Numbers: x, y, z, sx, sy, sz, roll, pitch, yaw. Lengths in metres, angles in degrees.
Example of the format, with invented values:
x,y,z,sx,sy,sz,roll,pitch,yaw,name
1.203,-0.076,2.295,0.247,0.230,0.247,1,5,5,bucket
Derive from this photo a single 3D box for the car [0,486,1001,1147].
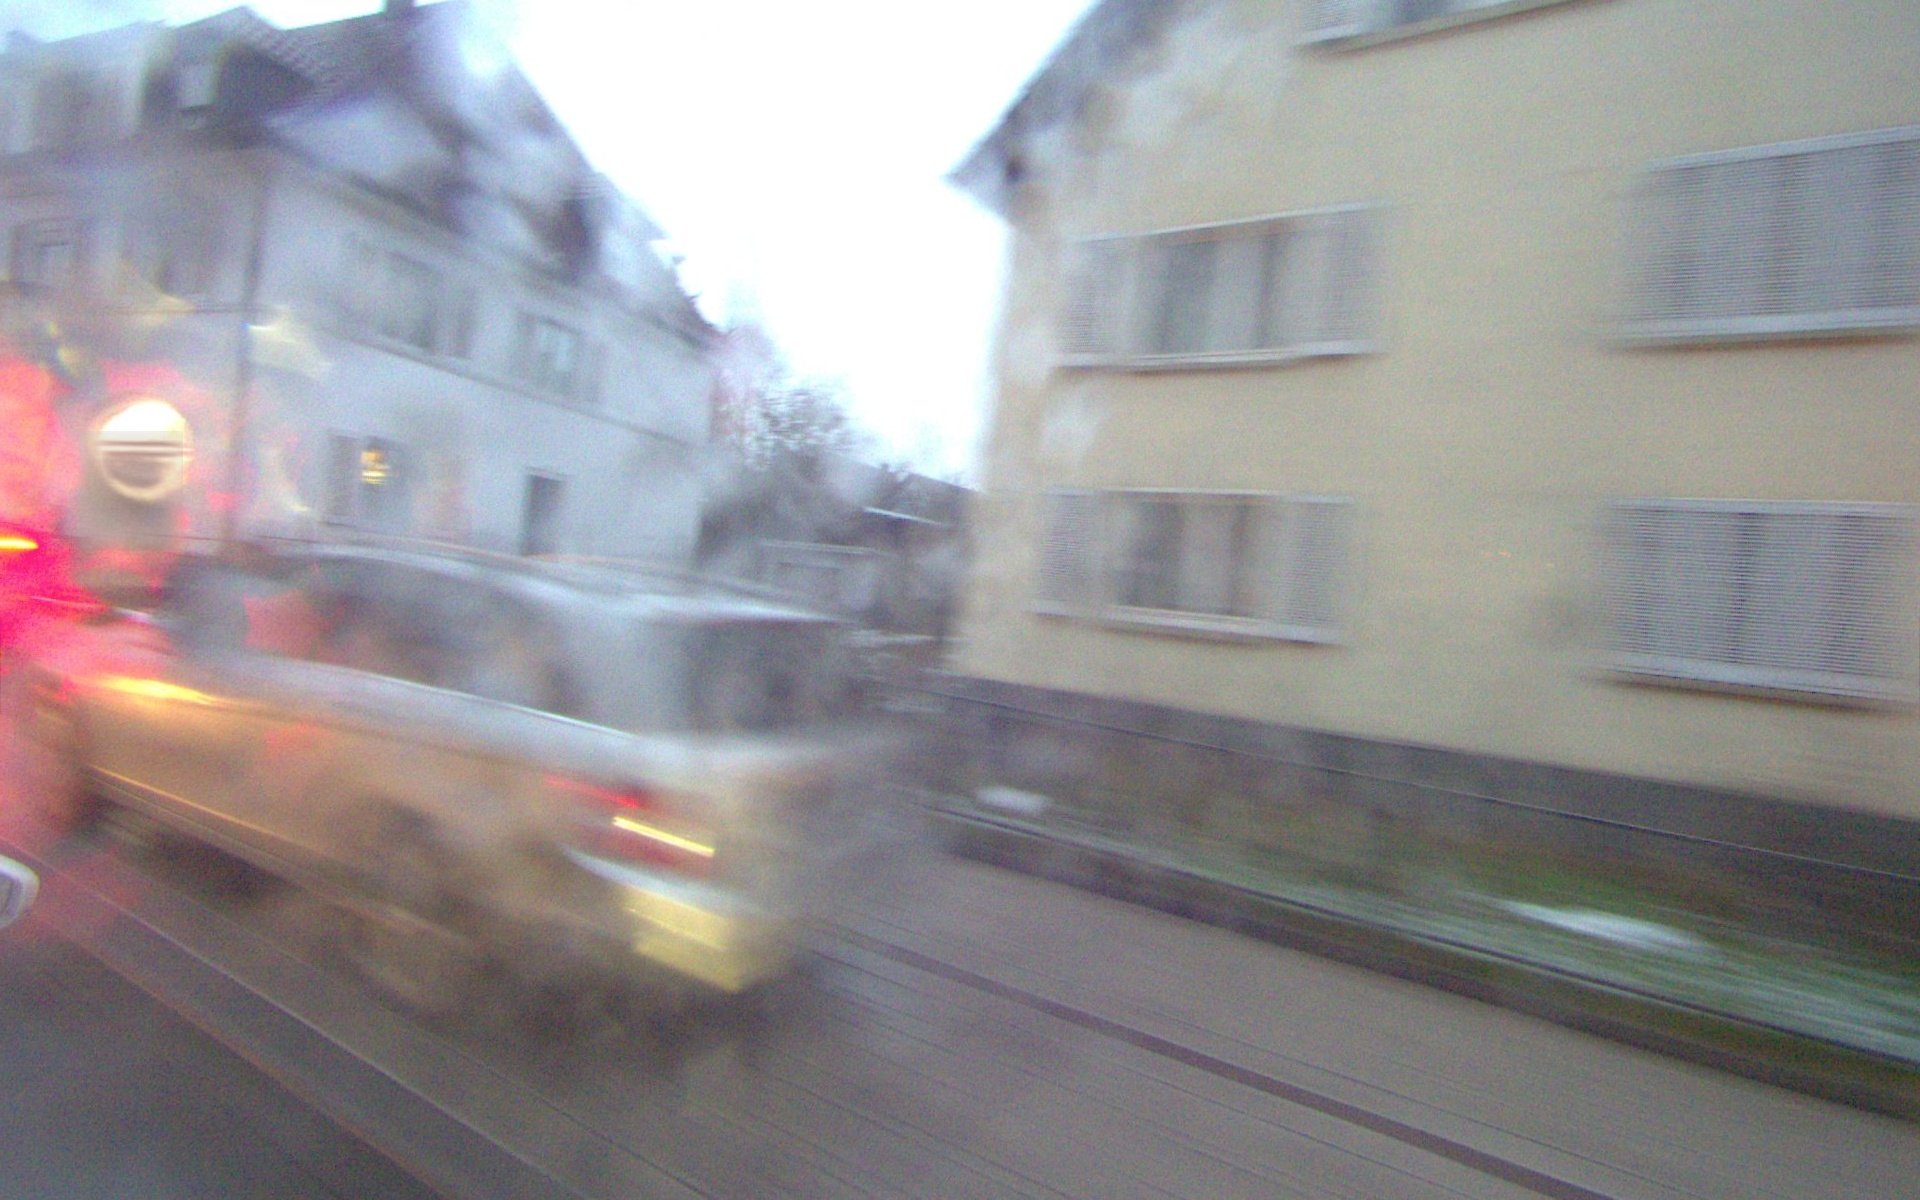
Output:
x,y,z,sx,sy,sz,roll,pitch,yaw,name
-2.263,0.469,4.432,4.454,1.479,1.796,7,1,30,car

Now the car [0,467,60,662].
x,y,z,sx,sy,sz,roll,pitch,yaw,name
-10.005,-0.565,8.597,4.589,1.566,1.886,7,1,27,car
